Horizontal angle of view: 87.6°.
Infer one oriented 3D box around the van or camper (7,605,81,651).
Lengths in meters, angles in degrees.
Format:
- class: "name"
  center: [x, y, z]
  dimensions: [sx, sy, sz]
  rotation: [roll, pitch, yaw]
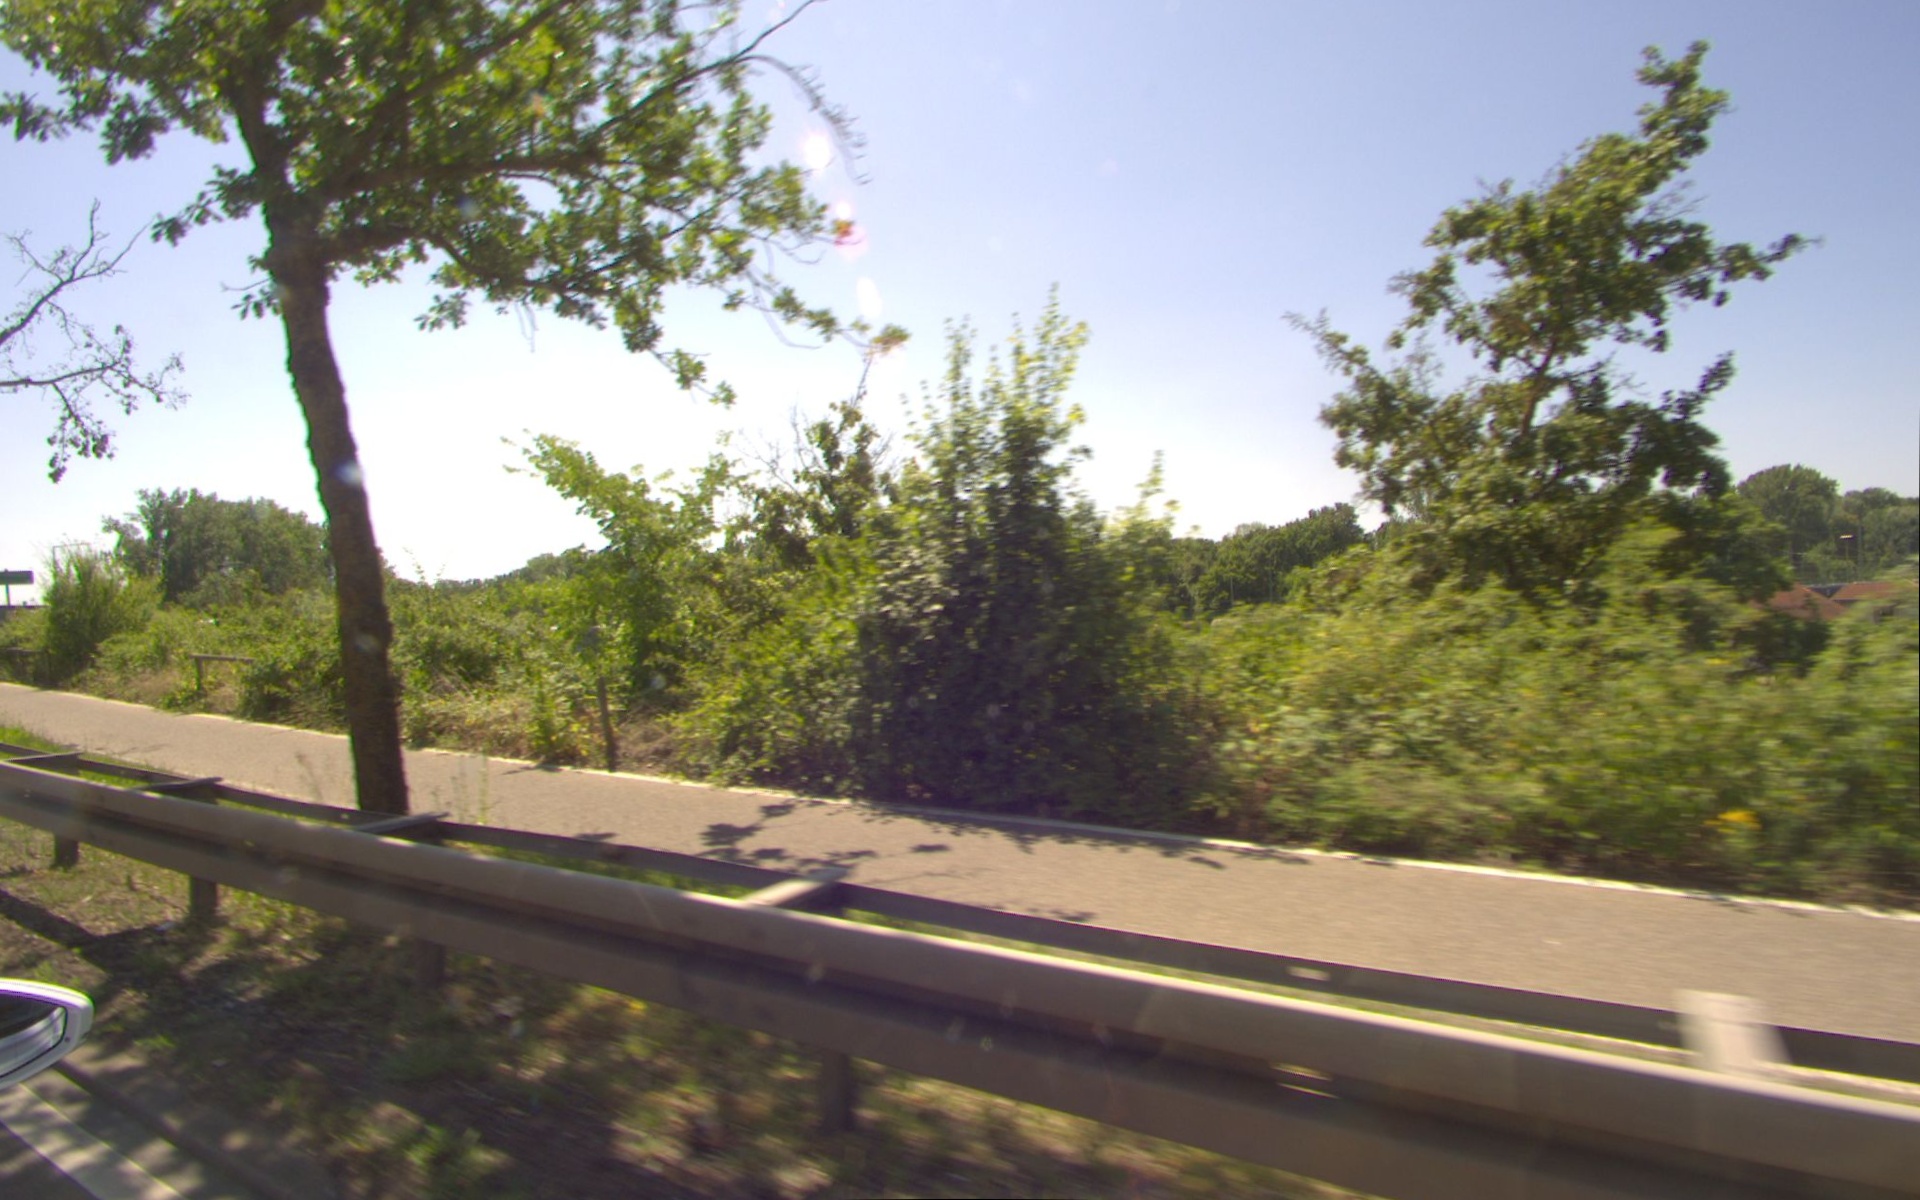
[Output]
- class: "van or camper"
  center: [-57.376, 1.721, 62.829]
  dimensions: [2.178, 2.746, 5.895]
  rotation: [0, -1, -30]
